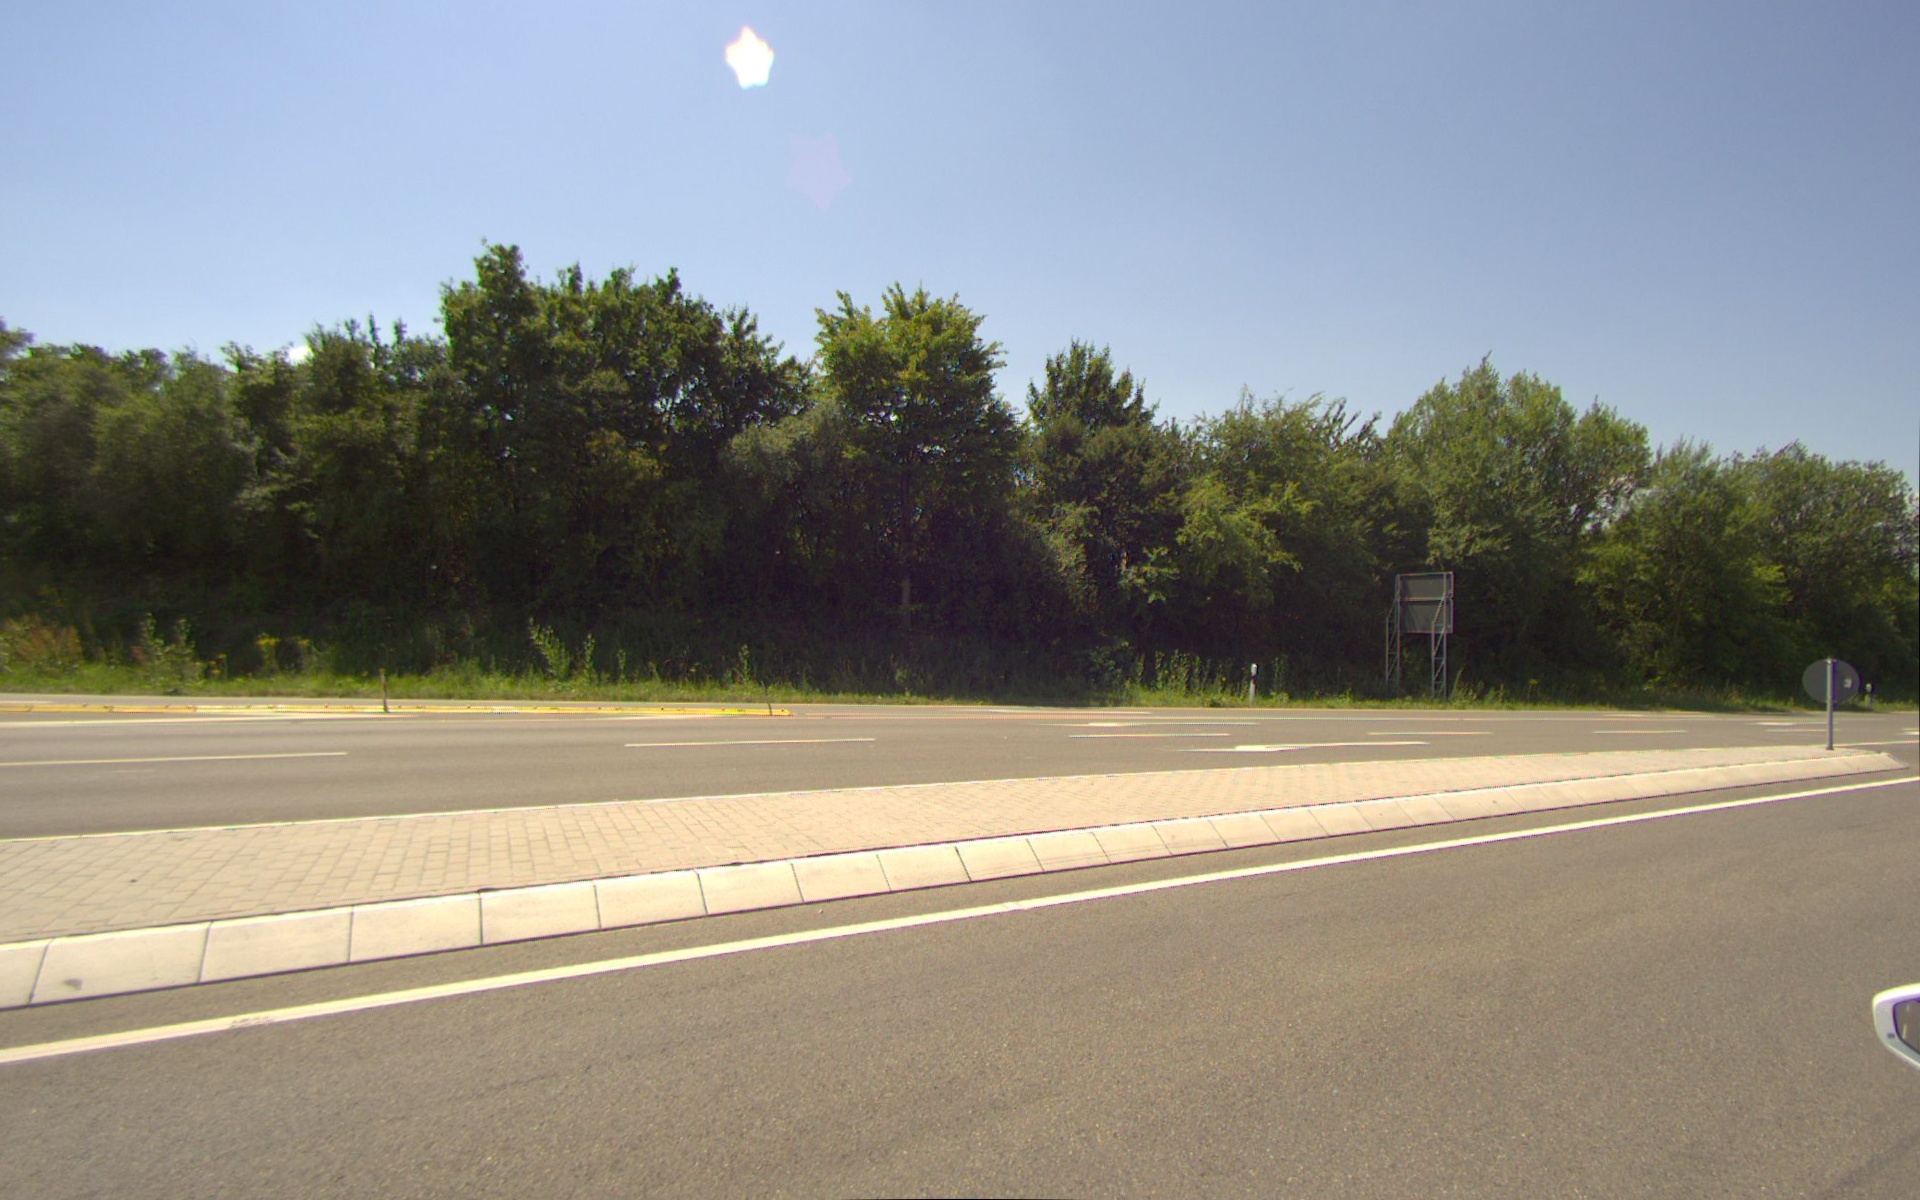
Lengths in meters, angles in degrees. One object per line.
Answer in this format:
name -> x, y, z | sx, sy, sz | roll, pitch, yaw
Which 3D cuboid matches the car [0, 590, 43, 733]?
car -> -11.789, 0.581, 9.495 | 4.168, 1.458, 1.986 | 2, 0, -27
